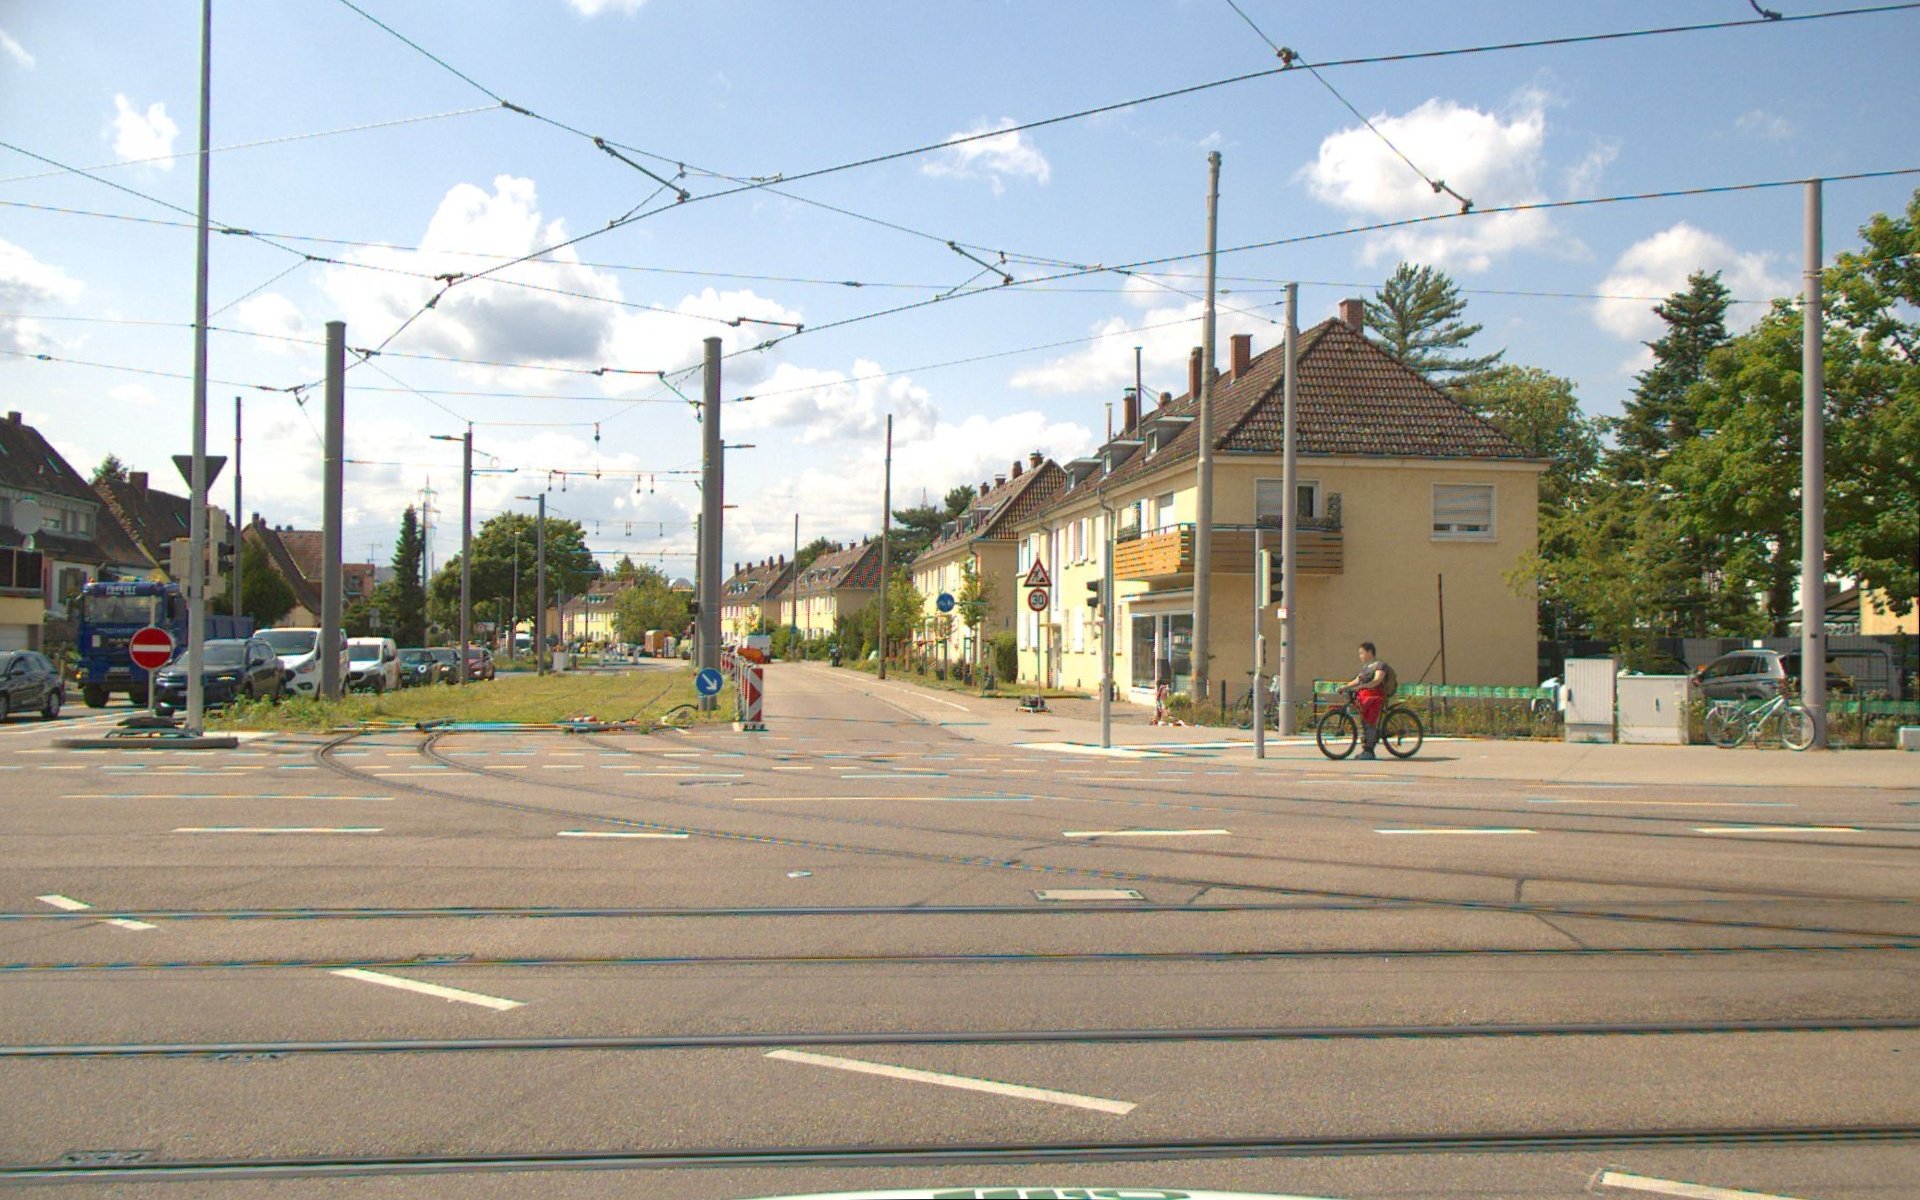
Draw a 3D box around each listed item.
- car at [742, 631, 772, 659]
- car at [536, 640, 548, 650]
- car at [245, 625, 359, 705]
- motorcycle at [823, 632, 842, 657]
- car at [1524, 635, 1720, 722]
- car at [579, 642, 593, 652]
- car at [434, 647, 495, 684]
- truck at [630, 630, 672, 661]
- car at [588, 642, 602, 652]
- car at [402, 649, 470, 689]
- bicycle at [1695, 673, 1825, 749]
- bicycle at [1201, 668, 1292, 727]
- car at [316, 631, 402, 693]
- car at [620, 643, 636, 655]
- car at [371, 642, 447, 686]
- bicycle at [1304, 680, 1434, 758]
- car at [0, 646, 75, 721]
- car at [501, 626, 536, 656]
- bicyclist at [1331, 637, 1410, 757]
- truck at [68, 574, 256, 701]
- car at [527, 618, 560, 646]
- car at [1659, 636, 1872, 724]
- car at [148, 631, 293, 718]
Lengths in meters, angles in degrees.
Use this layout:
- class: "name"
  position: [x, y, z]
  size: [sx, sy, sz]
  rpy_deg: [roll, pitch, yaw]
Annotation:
- class: "car"
  position: [-16.510, 3.635, 134.272]
  size: [2.029, 2.187, 4.864]
  rpy_deg: [0, -1, -11]
- class: "car"
  position: [-62.449, 6.717, 247.131]
  size: [1.153, 1.451, 2.639]
  rpy_deg: [1, -2, -29]
- class: "car"
  position: [-16.999, 1.647, 42.960]
  size: [1.781, 1.955, 4.736]
  rpy_deg: [0, -1, -10]
- class: "motorcycle"
  position: [-8.459, 2.961, 109.500]
  size: [1.047, 1.664, 2.078]
  rpy_deg: [0, -1, -10]
- class: "car"
  position: [13.291, 1.580, 33.483]
  size: [1.790, 1.649, 3.988]
  rpy_deg: [0, -2, -11]
- class: "car"
  position: [-51.840, 6.486, 229.078]
  size: [1.243, 1.451, 2.640]
  rpy_deg: [1, -2, -28]
- class: "car"
  position: [-21.289, 2.778, 71.196]
  size: [1.809, 1.520, 4.846]
  rpy_deg: [0, -1, -9]
- class: "truck"
  position: [-36.299, 5.353, 193.789]
  size: [2.607, 3.555, 9.361]
  rpy_deg: [1, -2, -25]
- class: "car"
  position: [-49.757, 6.389, 225.545]
  size: [1.242, 1.451, 2.642]
  rpy_deg: [1, -2, -26]
- class: "car"
  position: [-20.294, 2.648, 64.207]
  size: [1.809, 1.438, 4.904]
  rpy_deg: [0, -1, -10]
- class: "bicycle"
  position: [12.802, 1.756, 26.501]
  size: [1.773, 1.124, 0.699]
  rpy_deg: [-1, -1, 37]
- class: "bicycle"
  position: [5.755, 1.943, 33.342]
  size: [0.586, 1.116, 2.256]
  rpy_deg: [1, -2, -27]
- class: "car"
  position: [-18.387, 1.865, 50.779]
  size: [1.701, 1.813, 4.394]
  rpy_deg: [0, -1, -10]
- class: "car"
  position: [-41.259, 6.099, 205.518]
  size: [1.242, 1.451, 2.643]
  rpy_deg: [1, -2, -25]
- class: "car"
  position: [-19.098, 2.200, 57.471]
  size: [1.880, 1.444, 3.990]
  rpy_deg: [0, -1, -10]
- class: "bicycle"
  position: [6.272, 1.803, 25.349]
  size: [2.004, 1.121, 0.708]
  rpy_deg: [1, -2, -29]
- class: "car"
  position: [-20.541, 1.732, 34.930]
  size: [1.793, 1.513, 4.327]
  rpy_deg: [0, -1, -7]
- class: "car"
  position: [-35.178, 3.264, 131.821]
  size: [2.370, 2.379, 4.852]
  rpy_deg: [0, -1, -19]
- class: "bicyclist"
  position: [6.291, 1.470, 25.369]
  size: [0.946, 1.806, 0.713]
  rpy_deg: [1, -2, -28]
- class: "truck"
  position: [-22.204, 1.067, 46.488]
  size: [2.718, 3.244, 7.564]
  rpy_deg: [0, -2, -10]
- class: "car"
  position: [-36.295, 2.798, 143.968]
  size: [2.370, 2.412, 4.852]
  rpy_deg: [0, -1, -19]
- class: "car"
  position: [16.059, 1.590, 33.220]
  size: [1.790, 1.649, 3.988]
  rpy_deg: [0, -2, -11]
- class: "car"
  position: [-16.251, 1.581, 36.570]
  size: [1.753, 1.751, 4.432]
  rpy_deg: [0, -1, -8]
